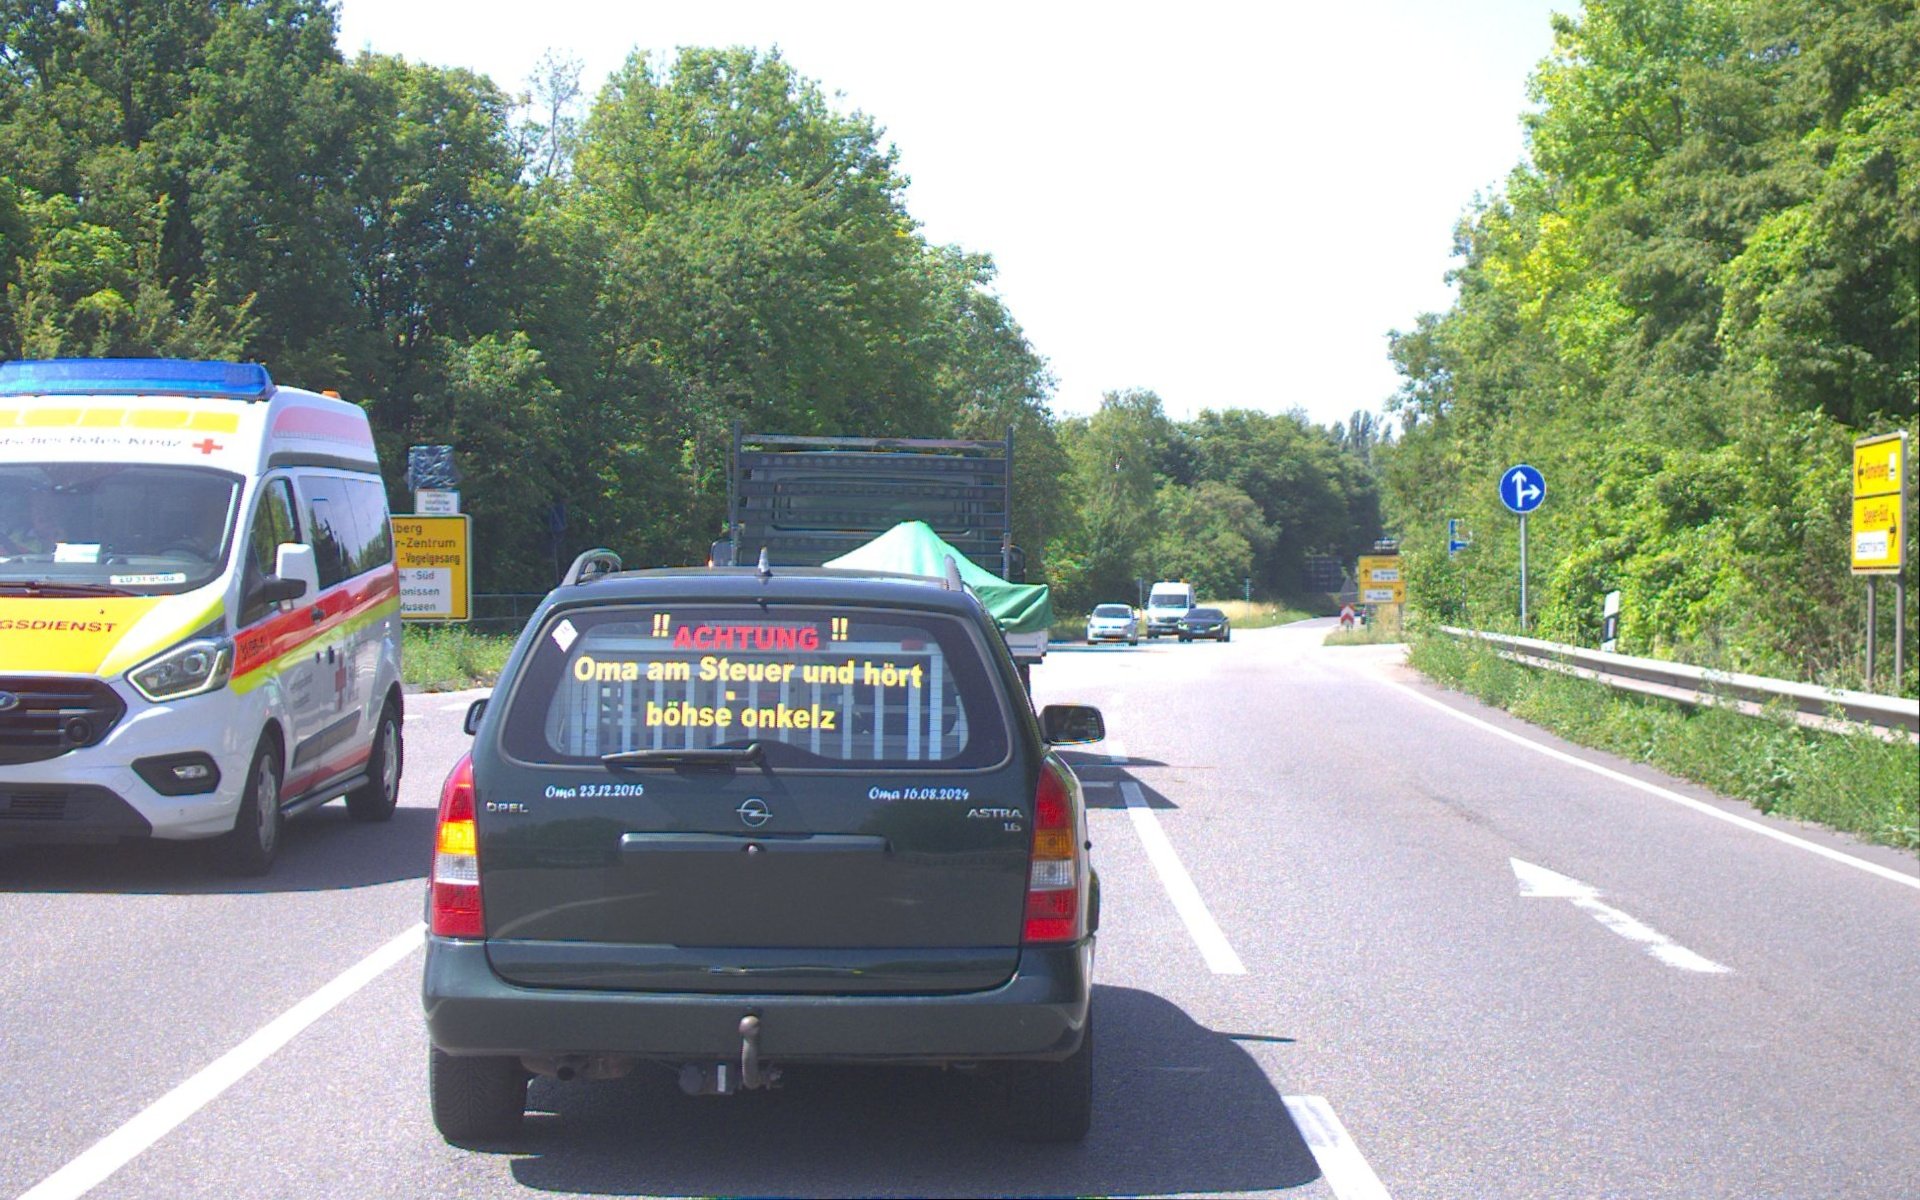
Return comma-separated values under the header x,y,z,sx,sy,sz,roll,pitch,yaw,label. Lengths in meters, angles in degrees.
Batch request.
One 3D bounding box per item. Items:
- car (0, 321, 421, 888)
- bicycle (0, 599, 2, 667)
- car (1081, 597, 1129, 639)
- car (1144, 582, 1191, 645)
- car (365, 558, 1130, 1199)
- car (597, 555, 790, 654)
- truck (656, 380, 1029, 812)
x,y,z,sx,sy,sz,roll,pitch,yaw,label
-4.054,-0.032,16.990,1.990,2.360,5.182,1,1,-1,car
-16.218,0.553,55.568,0.436,1.109,1.479,0,1,34,bicycle
5.128,0.632,121.575,1.644,1.414,3.766,1,0,3,car
9.610,0.584,159.240,2.105,2.840,6.011,1,0,4,car
-0.474,0.628,9.703,1.720,1.452,3.797,1,1,0,car
-5.372,0.046,70.002,2.012,1.917,5.189,1,1,19,car
-0.642,-0.069,23.868,2.139,2.556,6.639,1,1,2,truck
